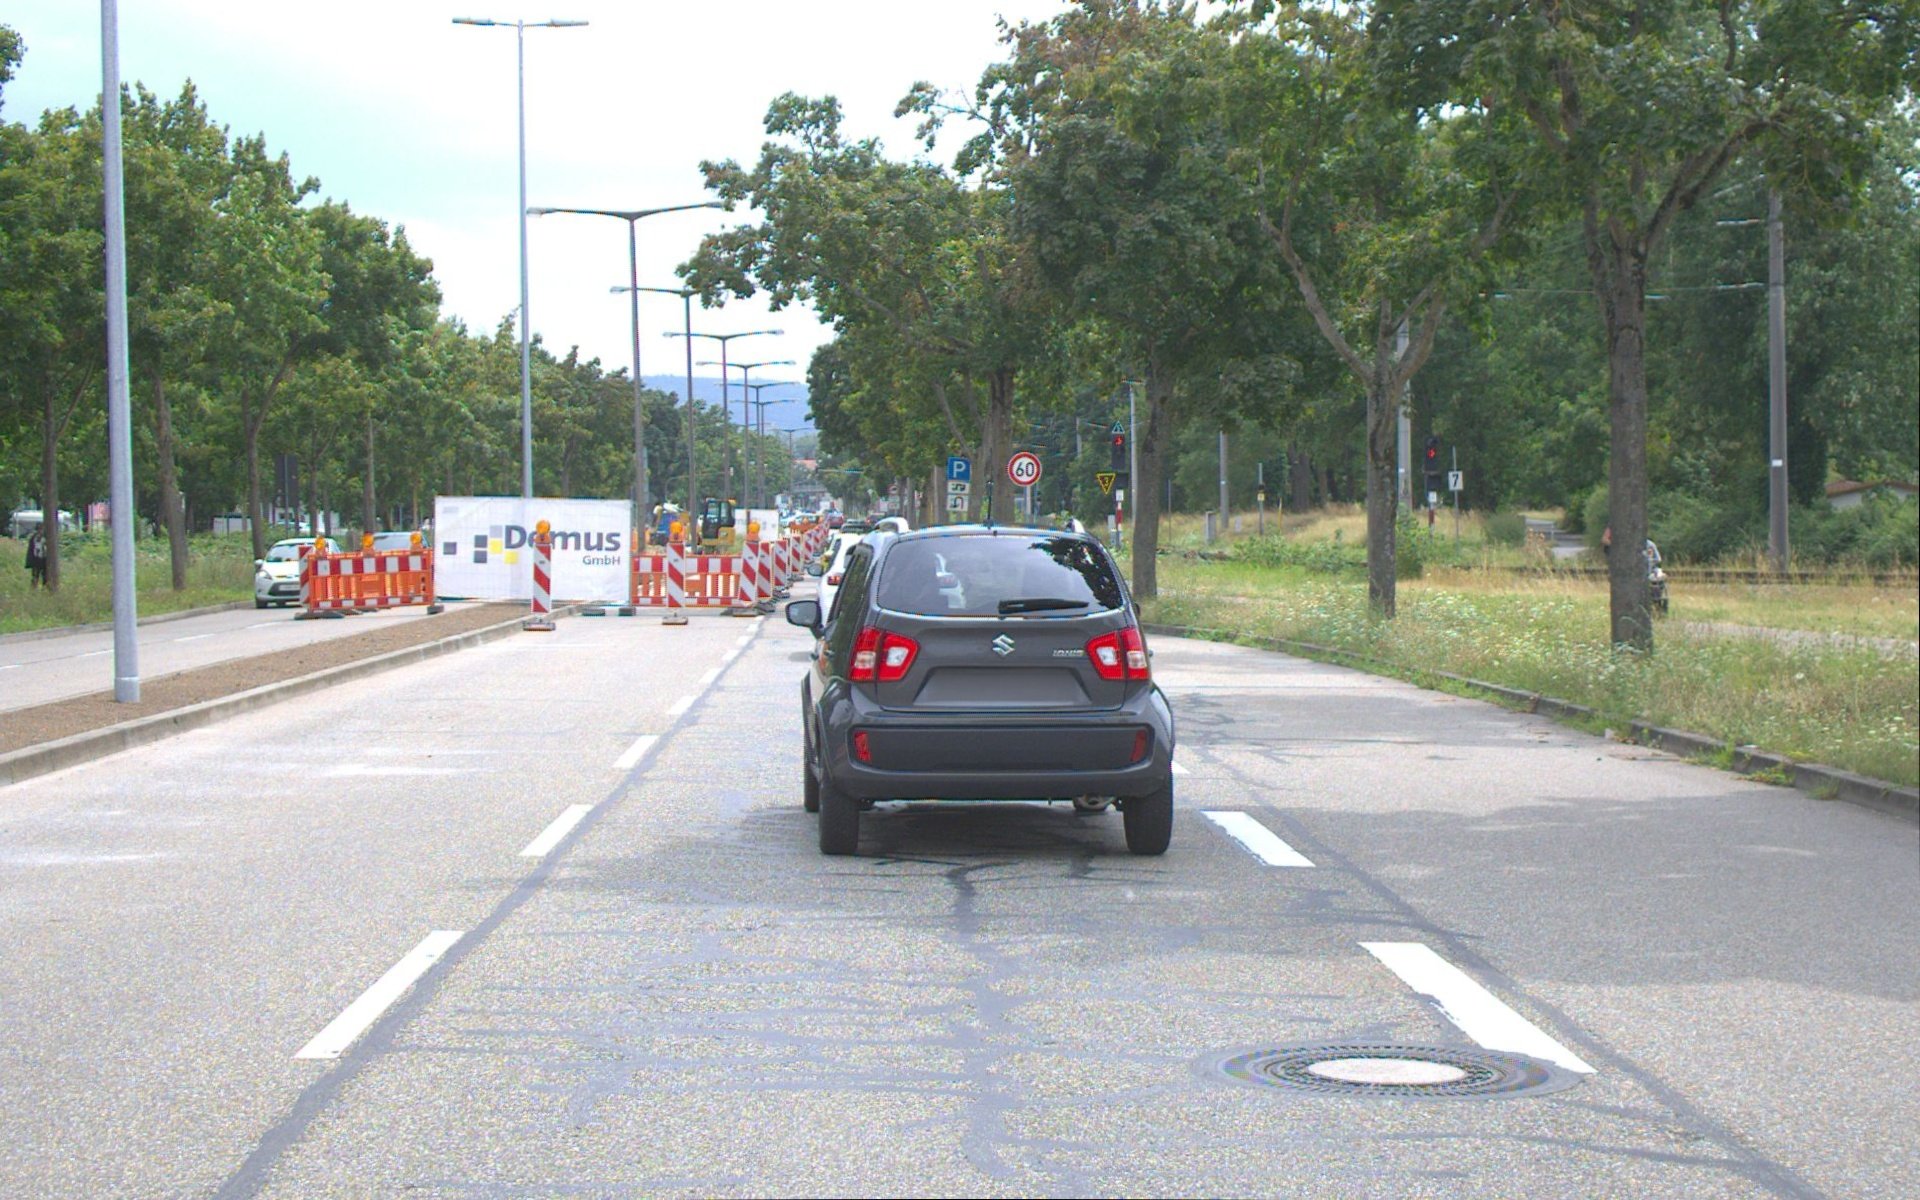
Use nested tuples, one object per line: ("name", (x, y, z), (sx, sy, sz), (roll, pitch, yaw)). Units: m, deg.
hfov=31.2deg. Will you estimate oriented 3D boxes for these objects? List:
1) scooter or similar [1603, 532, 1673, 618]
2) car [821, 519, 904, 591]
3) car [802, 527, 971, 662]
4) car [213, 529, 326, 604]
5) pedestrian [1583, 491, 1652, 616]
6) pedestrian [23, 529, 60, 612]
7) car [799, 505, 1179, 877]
("scooter or similar", (9.105, -0.346, 46.173), (0.681, 1.126, 0.934), (-1, 2, -6))
("car", (-2.223, -1.056, 79.275), (1.793, 1.556, 4.000), (0, 2, 0))
("car", (-0.921, -0.107, 40.742), (1.766, 1.459, 4.001), (-1, 2, -4))
("car", (-14.759, -0.735, 73.637), (1.690, 1.472, 4.001), (-2, 2, -2))
("pedestrian", (9.003, -0.645, 47.095), (0.690, 1.689, 0.934), (-1, 2, -6))
("pedestrian", (-20.656, -0.672, 77.313), (0.690, 1.832, 0.651), (-1, 2, -23))
("car", (0.044, 0.351, 17.437), (1.703, 1.662, 4.001), (0, 2, -3))
